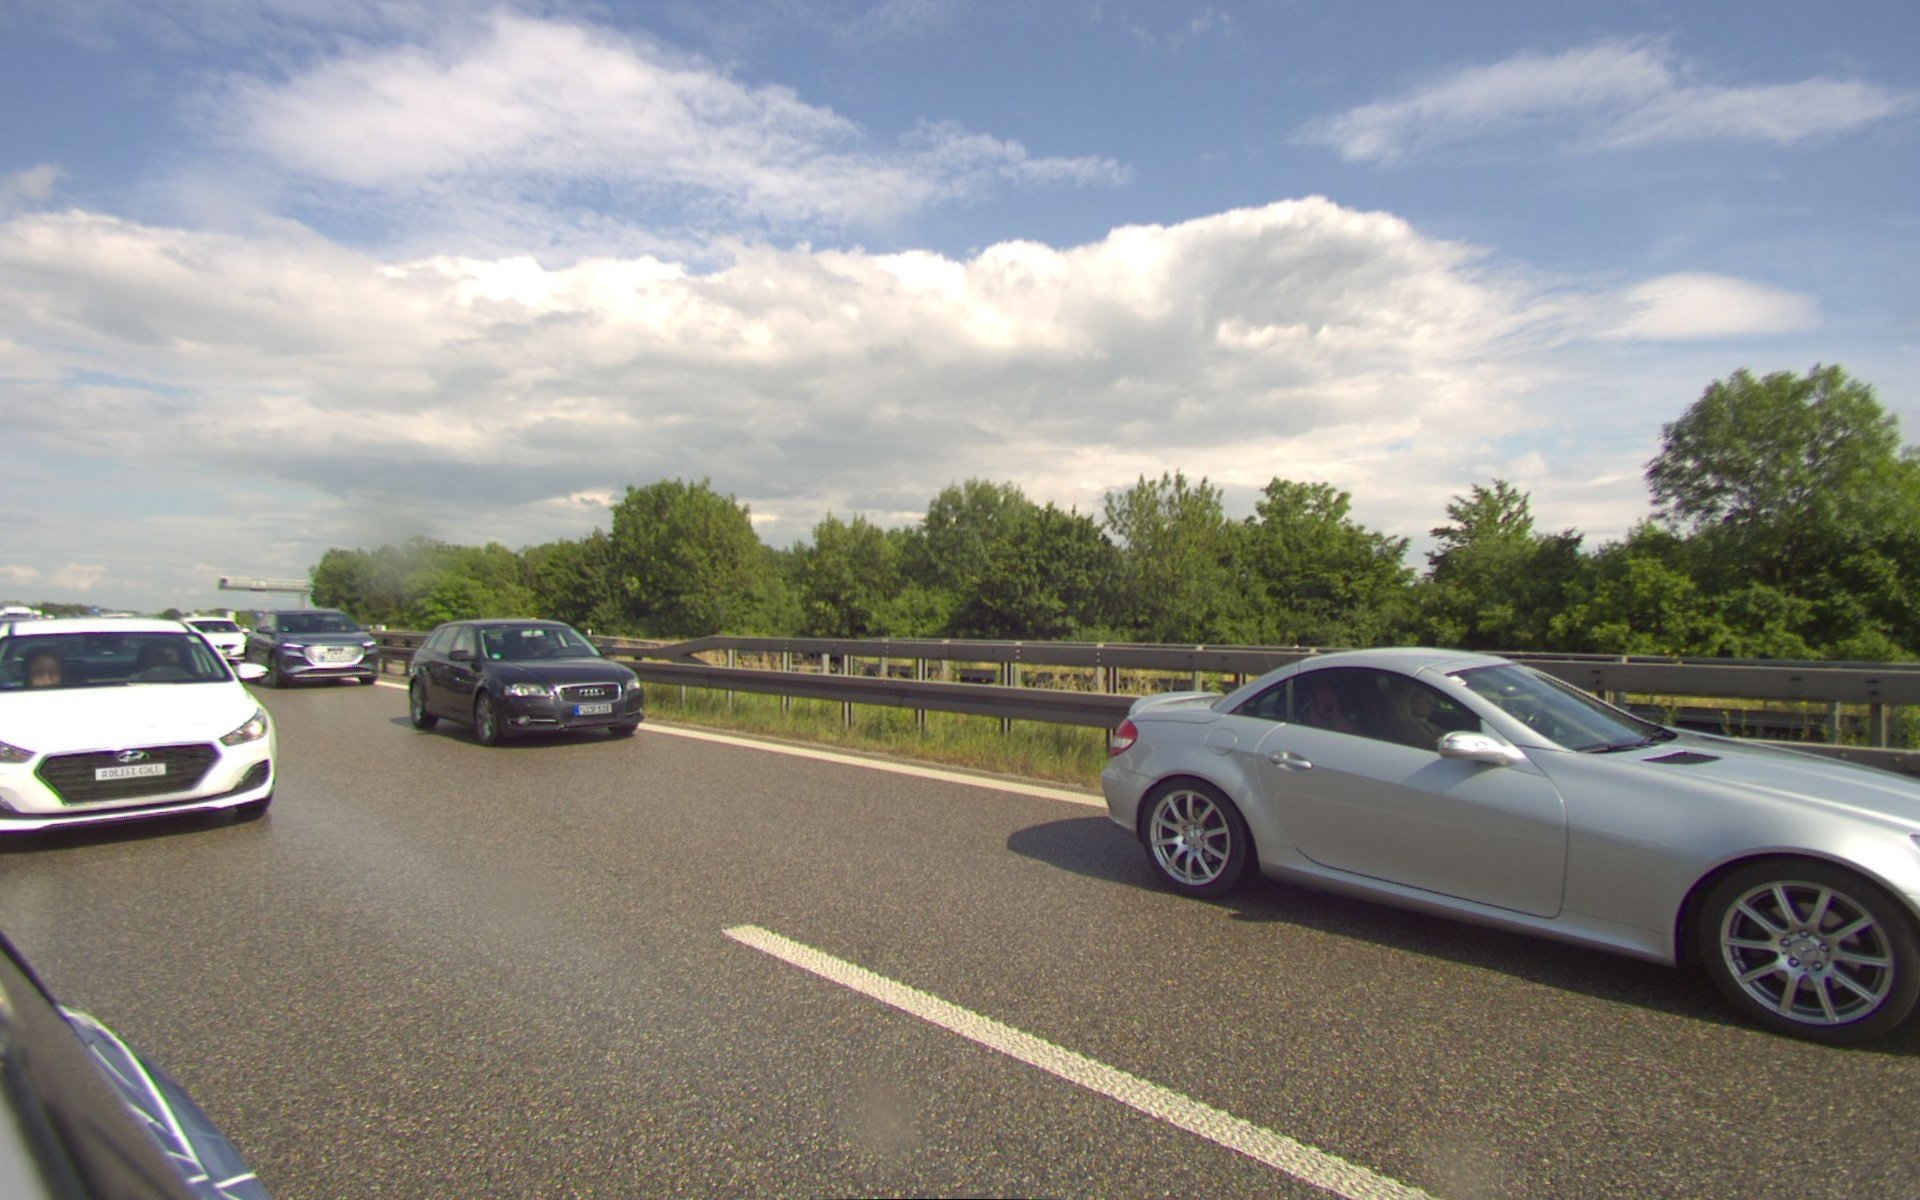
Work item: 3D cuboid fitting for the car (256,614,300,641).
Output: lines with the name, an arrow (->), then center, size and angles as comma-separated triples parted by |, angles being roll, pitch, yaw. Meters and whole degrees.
car -> -52.874, 2.080, 78.432 | 4.655, 2.029, 1.971 | -1, -1, 45

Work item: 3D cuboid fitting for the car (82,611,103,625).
car -> -119.527, 2.481, 139.452 | 1.970, 1.792, 4.464 | 0, -1, -44

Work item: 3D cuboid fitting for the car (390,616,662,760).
car -> -5.487, 0.938, 12.512 | 1.746, 1.436, 4.142 | 0, 0, -44

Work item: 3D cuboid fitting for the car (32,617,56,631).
car -> -113.641, 2.964, 125.592 | 4.002, 1.710, 1.971 | 0, 1, 45

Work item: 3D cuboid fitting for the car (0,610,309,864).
car -> -6.723, 0.829, 7.890 | 1.860, 1.466, 4.550 | 1, -1, -45

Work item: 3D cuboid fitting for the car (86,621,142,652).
car -> -45.549, 1.932, 54.461 | 4.002, 1.490, 1.971 | 0, 1, 45

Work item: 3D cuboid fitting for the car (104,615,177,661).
car -> -34.730, 1.556, 42.875 | 4.002, 1.762, 1.971 | 0, 1, 45

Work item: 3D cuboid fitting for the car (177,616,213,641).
car -> -63.850, 2.393, 84.427 | 1.970, 2.029, 4.004 | 2, -3, -43

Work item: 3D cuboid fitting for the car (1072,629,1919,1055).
car -> 2.650, 0.801, 4.716 | 1.705, 1.288, 4.065 | 1, -1, -45

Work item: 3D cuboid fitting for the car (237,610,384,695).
car -> -13.913, 1.036, 21.577 | 1.848, 1.618, 4.232 | 0, -1, -44

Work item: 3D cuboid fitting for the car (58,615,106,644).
car -> -54.998, 1.817, 63.399 | 4.002, 1.710, 1.971 | 0, 1, 45

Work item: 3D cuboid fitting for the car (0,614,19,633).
car -> -91.908, 2.214, 97.258 | 4.002, 1.710, 1.971 | 0, 1, 45

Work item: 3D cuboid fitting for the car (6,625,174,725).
car -> -13.877, 1.081, 16.055 | 1.705, 1.348, 4.289 | 1, -1, -45

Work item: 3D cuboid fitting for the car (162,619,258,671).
car -> -22.793, 1.314, 30.719 | 4.002, 1.389, 1.747 | 0, -1, 45

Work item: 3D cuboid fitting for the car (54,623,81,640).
car -> -99.020, 3.424, 112.224 | 4.002, 1.710, 1.971 | 0, 1, 45

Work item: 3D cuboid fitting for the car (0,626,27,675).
car -> -32.835, 1.687, 34.027 | 4.002, 1.490, 1.971 | 0, 1, 45

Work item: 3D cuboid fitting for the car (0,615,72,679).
car -> -25.034, 1.199, 26.828 | 4.002, 1.497, 1.971 | 0, 1, 45
